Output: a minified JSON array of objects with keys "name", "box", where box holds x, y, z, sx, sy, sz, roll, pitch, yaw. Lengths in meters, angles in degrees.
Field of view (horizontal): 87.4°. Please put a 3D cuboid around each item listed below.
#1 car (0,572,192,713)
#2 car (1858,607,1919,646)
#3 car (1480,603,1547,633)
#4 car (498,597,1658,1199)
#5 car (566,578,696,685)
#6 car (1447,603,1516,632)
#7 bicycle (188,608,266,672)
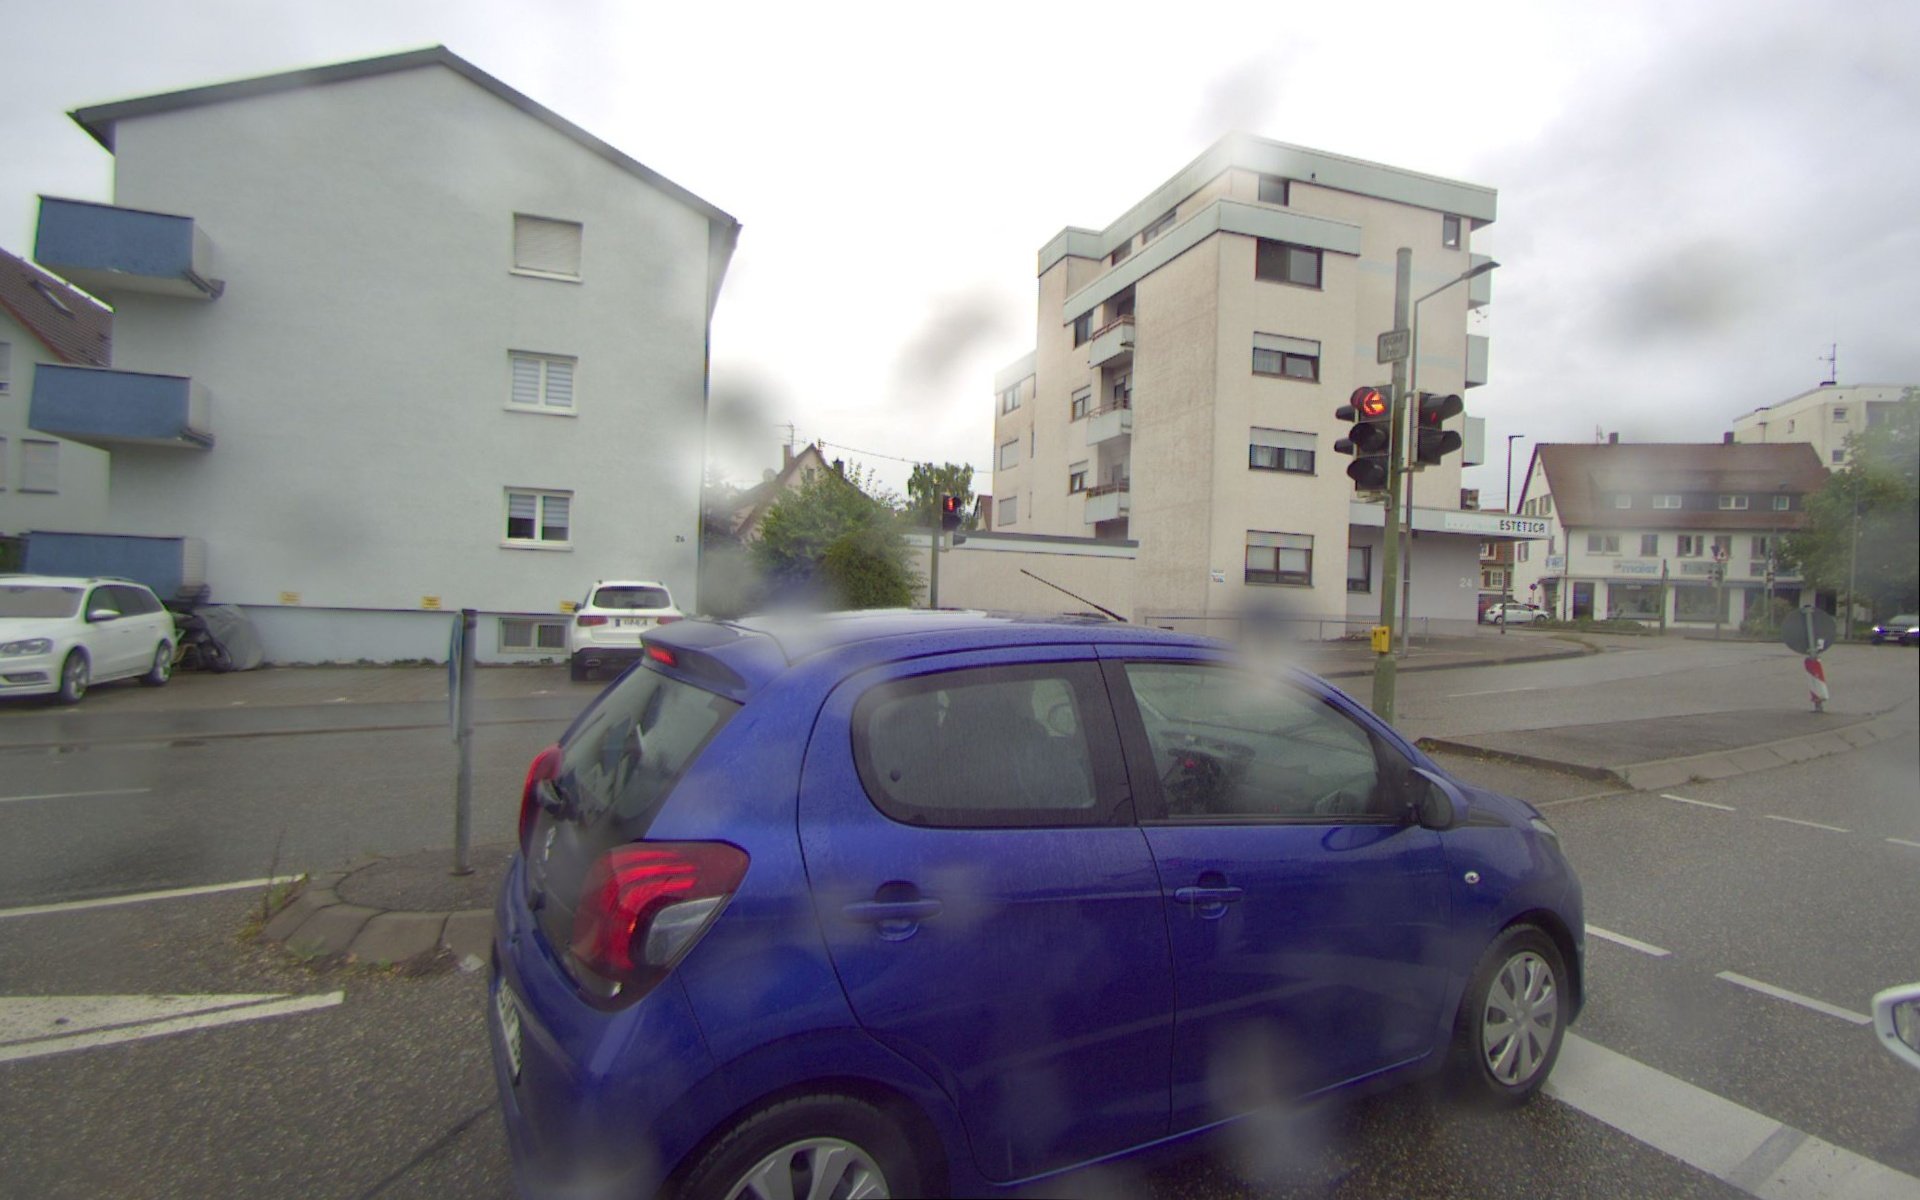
[{"name":"car","box":[-11.479,0.450,12.504,1.854,1.480,4.732,1,-1,-23]},{"name":"car","box":[42.465,1.216,45.115,4.488,1.646,1.983,2,0,-32]},{"name":"car","box":[37.923,1.233,68.895,3.611,1.946,1.889,2,0,14]},{"name":"car","box":[0.471,0.740,3.099,3.324,1.432,1.498,1,1,-30]},{"name":"car","box":[-5.761,0.504,17.574,1.884,1.637,3.982,2,0,-19]},{"name":"car","box":[37.215,1.238,71.725,3.987,1.868,1.889,2,0,14]},{"name":"bicycle","box":[-12.692,0.682,17.420,1.053,1.067,0.345,0,1,-30]}]
